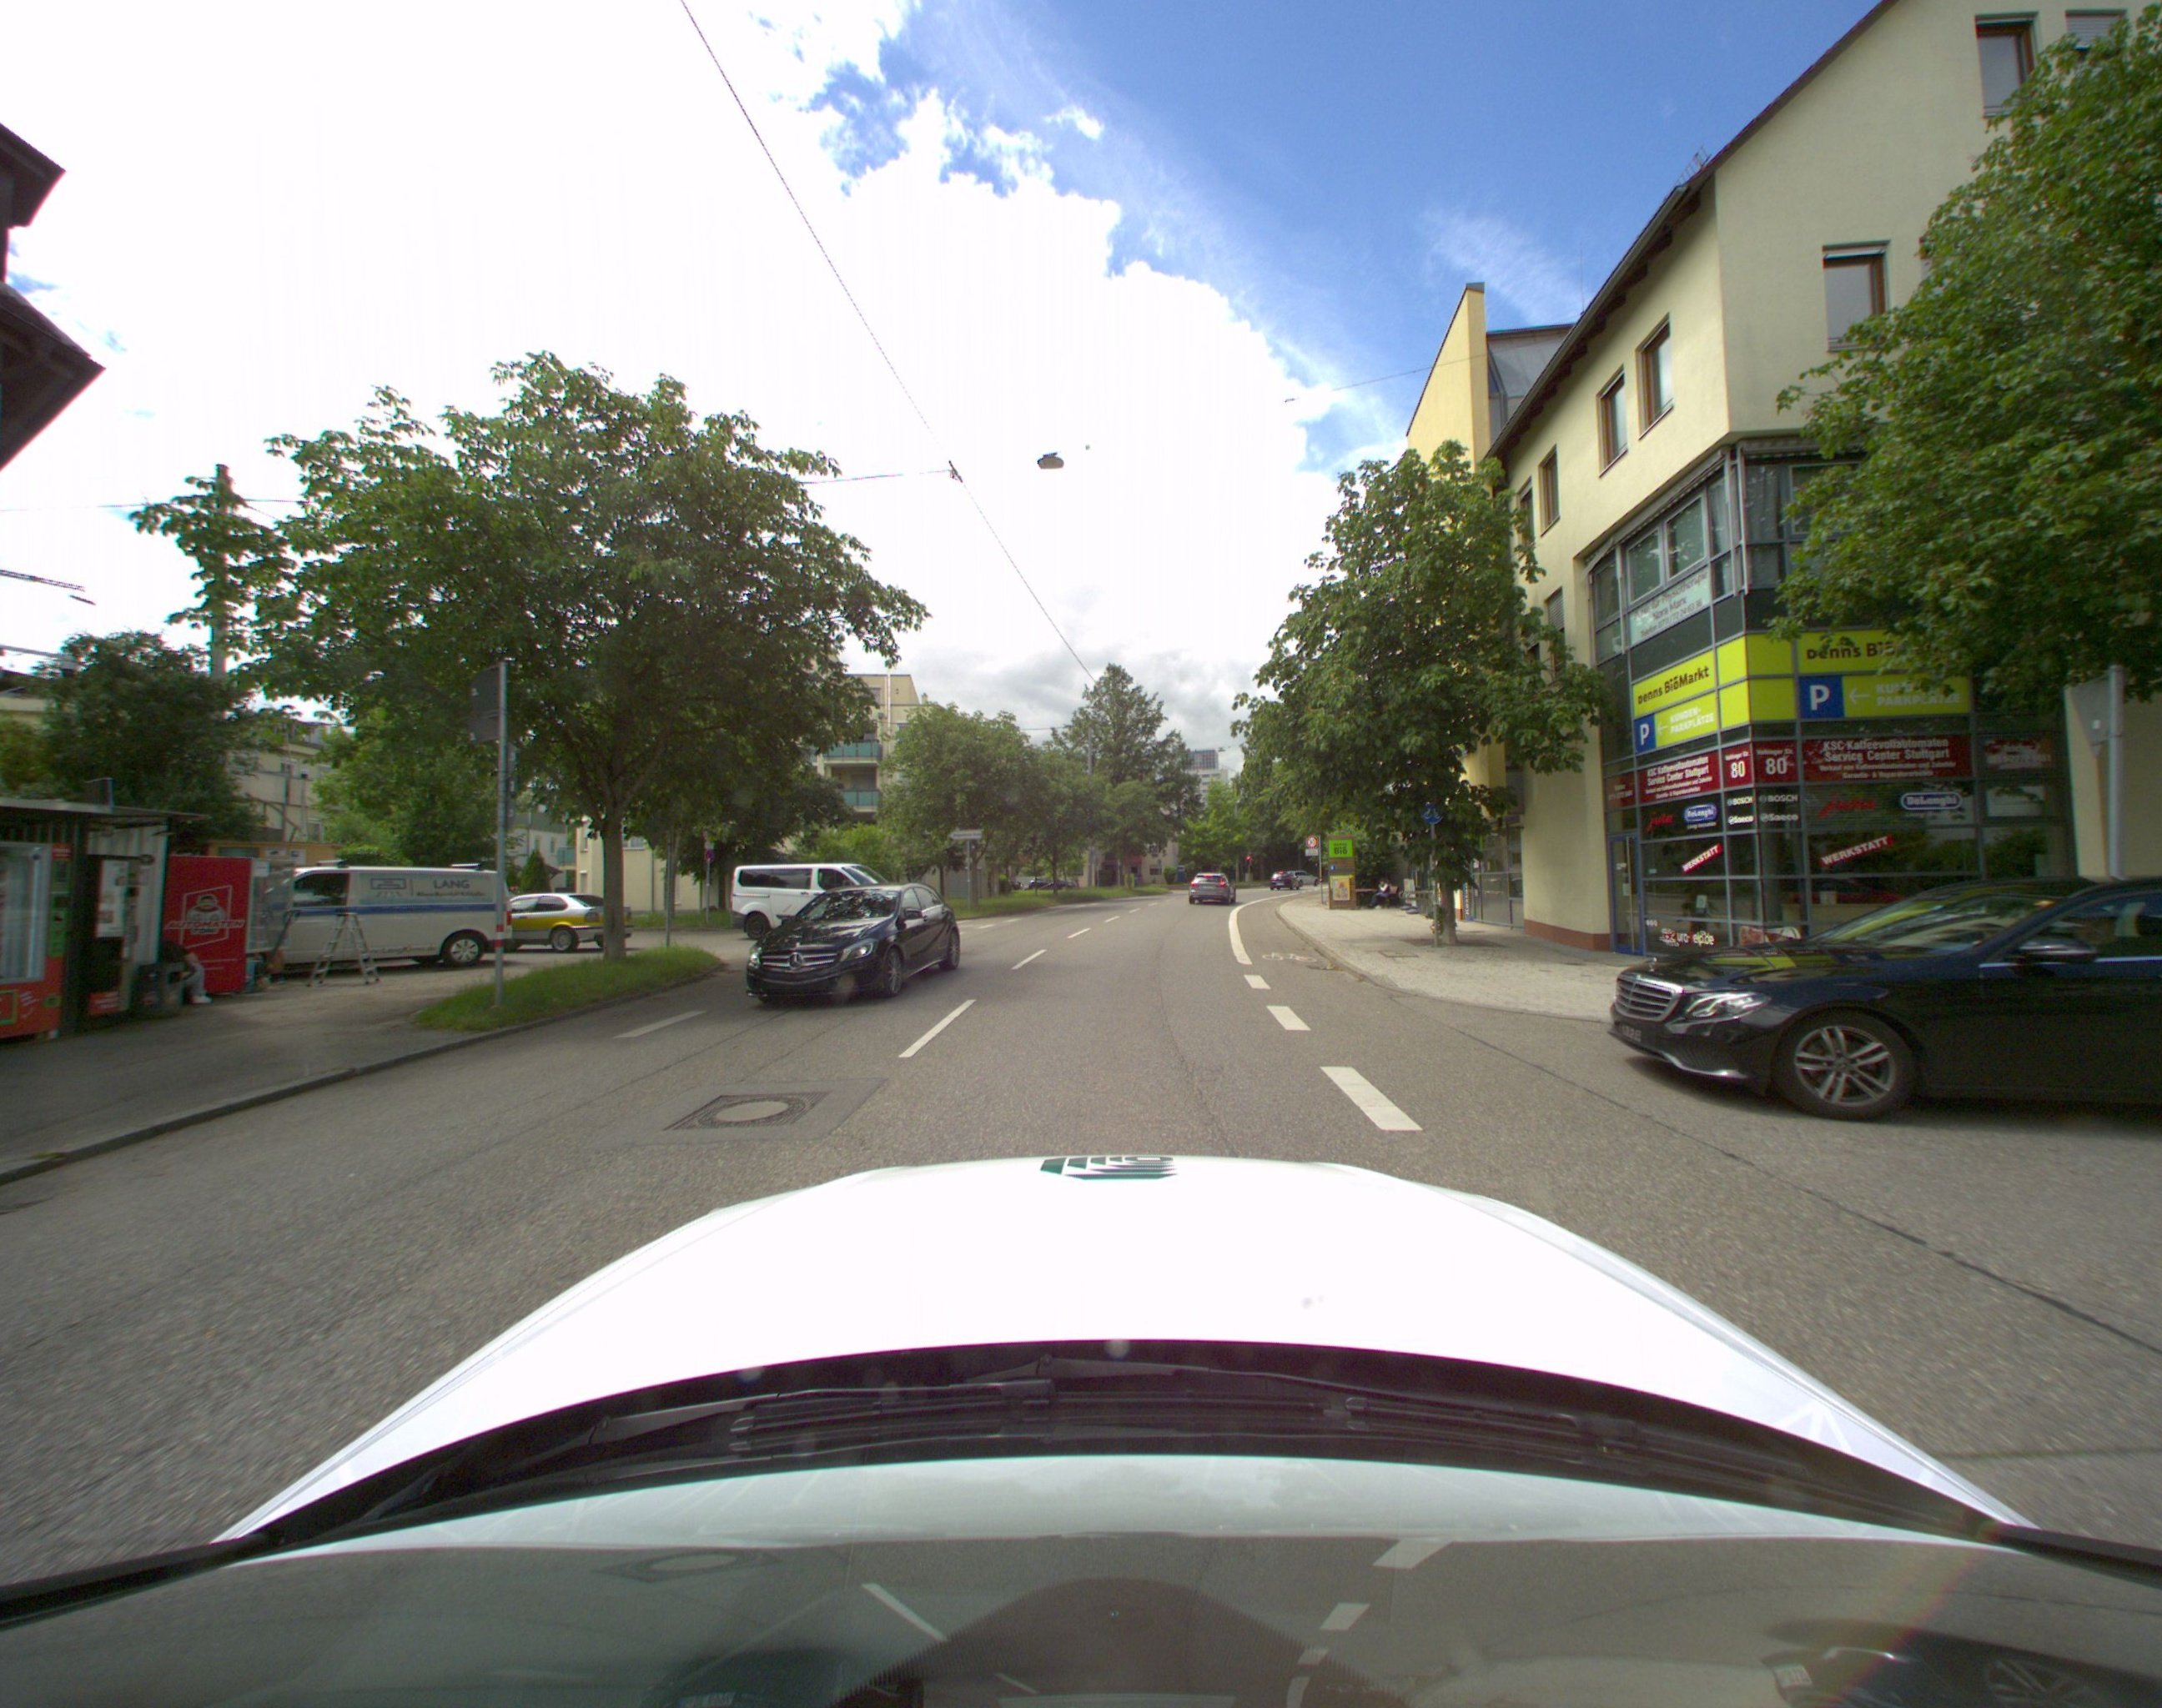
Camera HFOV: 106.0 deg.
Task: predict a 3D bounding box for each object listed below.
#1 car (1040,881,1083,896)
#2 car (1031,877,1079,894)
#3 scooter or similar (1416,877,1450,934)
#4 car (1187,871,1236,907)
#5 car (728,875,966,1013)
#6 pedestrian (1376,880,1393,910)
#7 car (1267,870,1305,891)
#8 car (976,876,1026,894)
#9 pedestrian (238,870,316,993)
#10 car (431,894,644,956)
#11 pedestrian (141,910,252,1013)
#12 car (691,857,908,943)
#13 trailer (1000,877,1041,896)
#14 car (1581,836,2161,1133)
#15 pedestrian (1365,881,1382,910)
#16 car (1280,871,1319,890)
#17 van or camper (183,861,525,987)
[{"bbox_3d":[-1.988,3.513,82.932,4.051,1.400,1.799,-1,-6,11],"label":"car"},{"bbox_3d":[-2.356,2.874,73.931,4.051,1.400,1.799,-1,-6,11],"label":"car"},{"bbox_3d":[8.485,1.229,19.657,0.378,1.316,1.462,-1,-3,9],"label":"scooter or similar"},{"bbox_3d":[6.308,1.631,39.065,1.942,1.523,4.345,1,-1,14],"label":"car"},{"bbox_3d":[-3.022,1.107,11.535,1.678,1.482,4.233,-5,-2,6],"label":"car"},{"bbox_3d":[12.255,1.659,32.886,0.573,1.204,0.505,-1,-3,12],"label":"pedestrian"},{"bbox_3d":[15.974,2.071,63.399,1.787,1.523,4.355,1,-1,29],"label":"car"},{"bbox_3d":[-7.381,2.867,75.221,4.148,1.523,1.907,-2,-2,11],"label":"car"},{"bbox_3d":[-12.753,1.203,12.940,0.624,1.896,0.561,1,-3,-16],"label":"pedestrian"},{"bbox_3d":[-13.029,1.688,19.651,3.994,1.413,1.819,-1,-3,7],"label":"car"},{"bbox_3d":[-11.669,1.393,10.771,0.623,1.272,0.737,0,-3,-9],"label":"pedestrian"},{"bbox_3d":[-7.648,1.237,22.314,5.177,1.994,2.115,-3,-2,12],"label":"car"},{"bbox_3d":[-6.177,3.364,83.794,3.883,1.799,1.634,0,-6,9],"label":"trailer"},{"bbox_3d":[6.211,0.748,5.359,4.637,1.628,1.817,0,-2,14],"label":"car"},{"bbox_3d":[12.110,1.724,33.745,0.519,1.182,0.501,0,-3,2],"label":"pedestrian"},{"bbox_3d":[20.191,2.457,75.294,1.787,1.616,4.355,1,-2,40],"label":"car"},{"bbox_3d":[-13.296,1.214,15.244,1.767,1.994,4.406,-3,-3,31],"label":"van or camper"}]
